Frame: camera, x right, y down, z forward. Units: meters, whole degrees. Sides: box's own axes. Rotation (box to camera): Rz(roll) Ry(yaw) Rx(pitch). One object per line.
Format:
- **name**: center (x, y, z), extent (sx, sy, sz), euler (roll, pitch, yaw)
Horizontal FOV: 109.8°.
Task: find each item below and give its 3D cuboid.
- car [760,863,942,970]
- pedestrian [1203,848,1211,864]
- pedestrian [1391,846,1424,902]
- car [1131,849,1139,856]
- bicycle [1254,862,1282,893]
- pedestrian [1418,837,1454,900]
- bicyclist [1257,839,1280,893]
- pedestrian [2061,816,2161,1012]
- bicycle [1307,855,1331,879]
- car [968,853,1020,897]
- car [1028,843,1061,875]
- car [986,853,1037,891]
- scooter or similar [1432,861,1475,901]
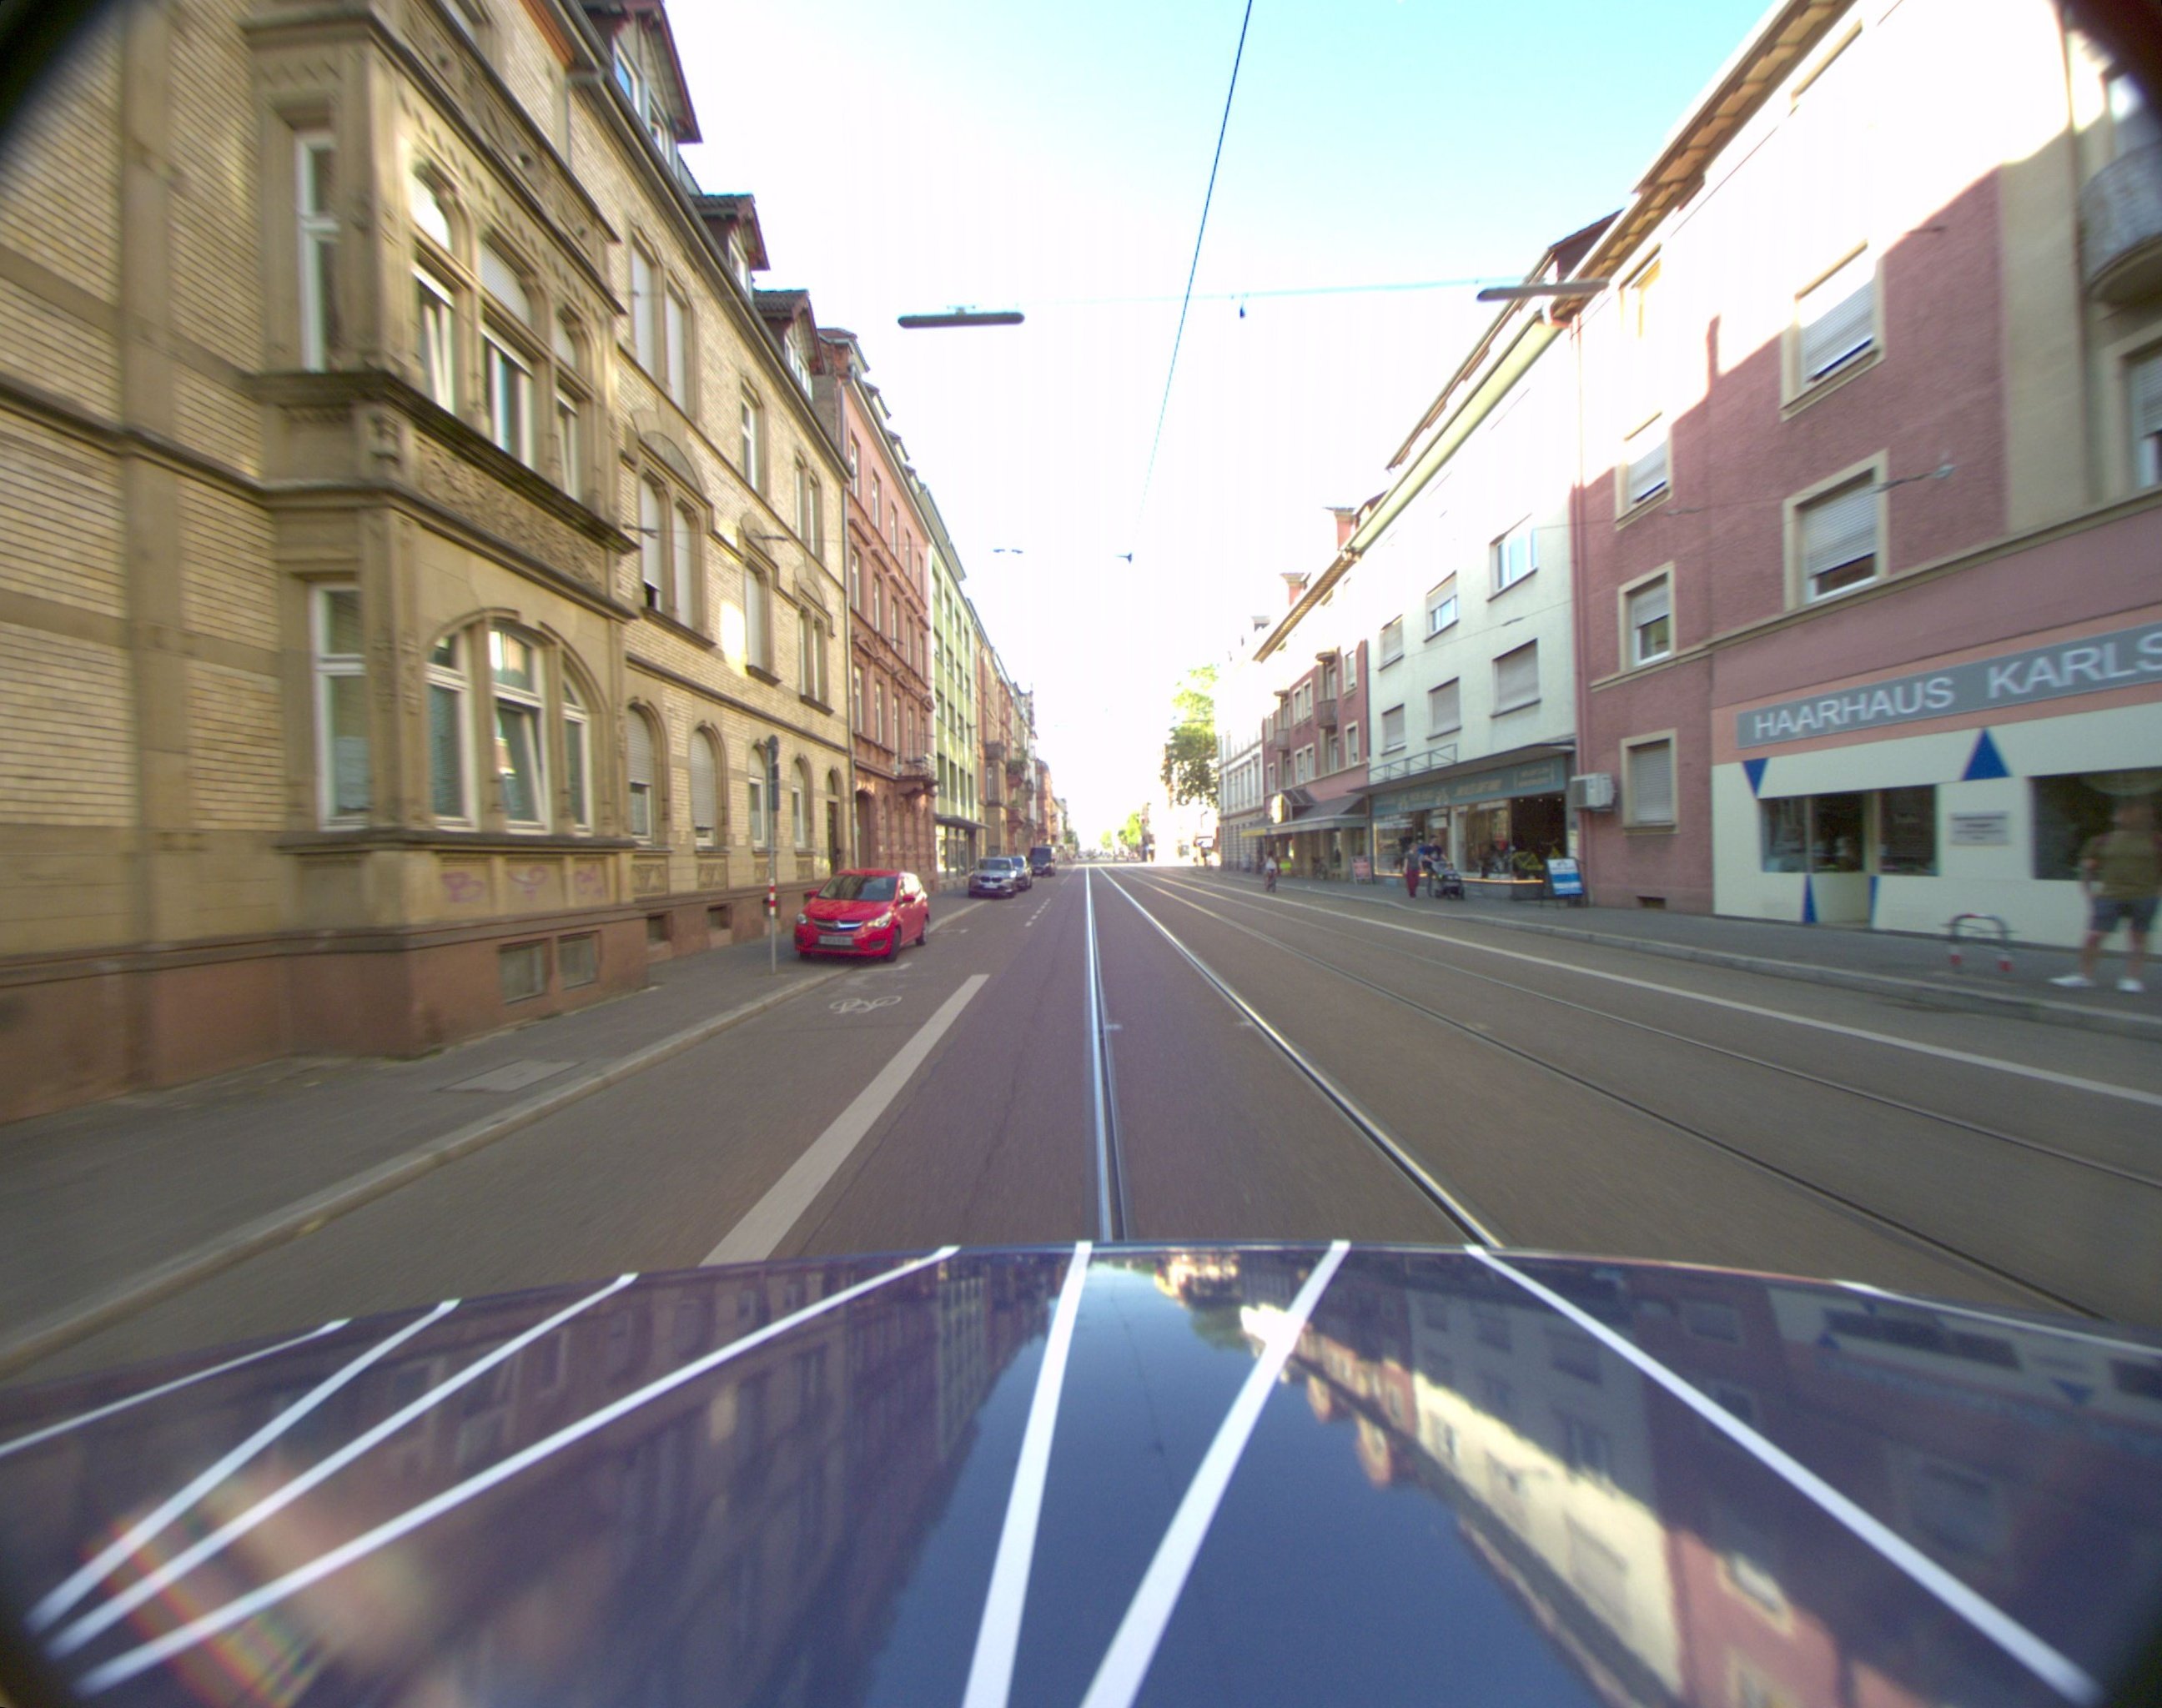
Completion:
- **car**: center (-3.833, 0.960, 13.550), extent (1.870, 1.474, 4.400), euler (1, 1, 0)
- **pedestrian**: center (15.224, 0.243, 92.034), extent (0.795, 1.837, 0.809), euler (-2, 1, 4)
- **pedestrian**: center (9.300, 0.556, 21.642), extent (0.637, 1.540, 0.623), euler (-2, 1, 0)
- **car**: center (15.990, -0.394, 225.056), extent (1.998, 2.002, 4.000), euler (-1, 0, 0)
- **bicycle**: center (7.146, 0.891, 29.174), extent (0.603, 1.089, 2.044), euler (0, 1, 1)
- **pedestrian**: center (10.368, 0.402, 22.205), extent (0.627, 1.779, 0.821), euler (-2, 1, 0)
- **bicyclist**: center (7.136, 0.447, 28.961), extent (0.613, 2.002, 0.733), euler (-2, 1, 1)
- **pedestrian**: center (9.488, 0.507, 6.820), extent (0.564, 1.676, 0.616), euler (-2, 1, -1)
- **bicycle**: center (11.308, 0.596, 36.168), extent (0.425, 1.053, 2.329), euler (-2, 1, 0)
- **car**: center (-3.524, 0.820, 31.573), extent (1.871, 1.637, 4.399), euler (2, 0, -3)
- **car**: center (-3.052, 0.364, 64.181), extent (2.128, 2.478, 5.856), euler (-2, 1, 3)
- **car**: center (-3.322, 0.817, 37.108), extent (1.998, 1.606, 4.785), euler (1, 1, 0)
- **scooter or similar**: center (10.391, 0.736, 21.229), extent (0.663, 1.055, 1.105), euler (-2, 0, 1)
